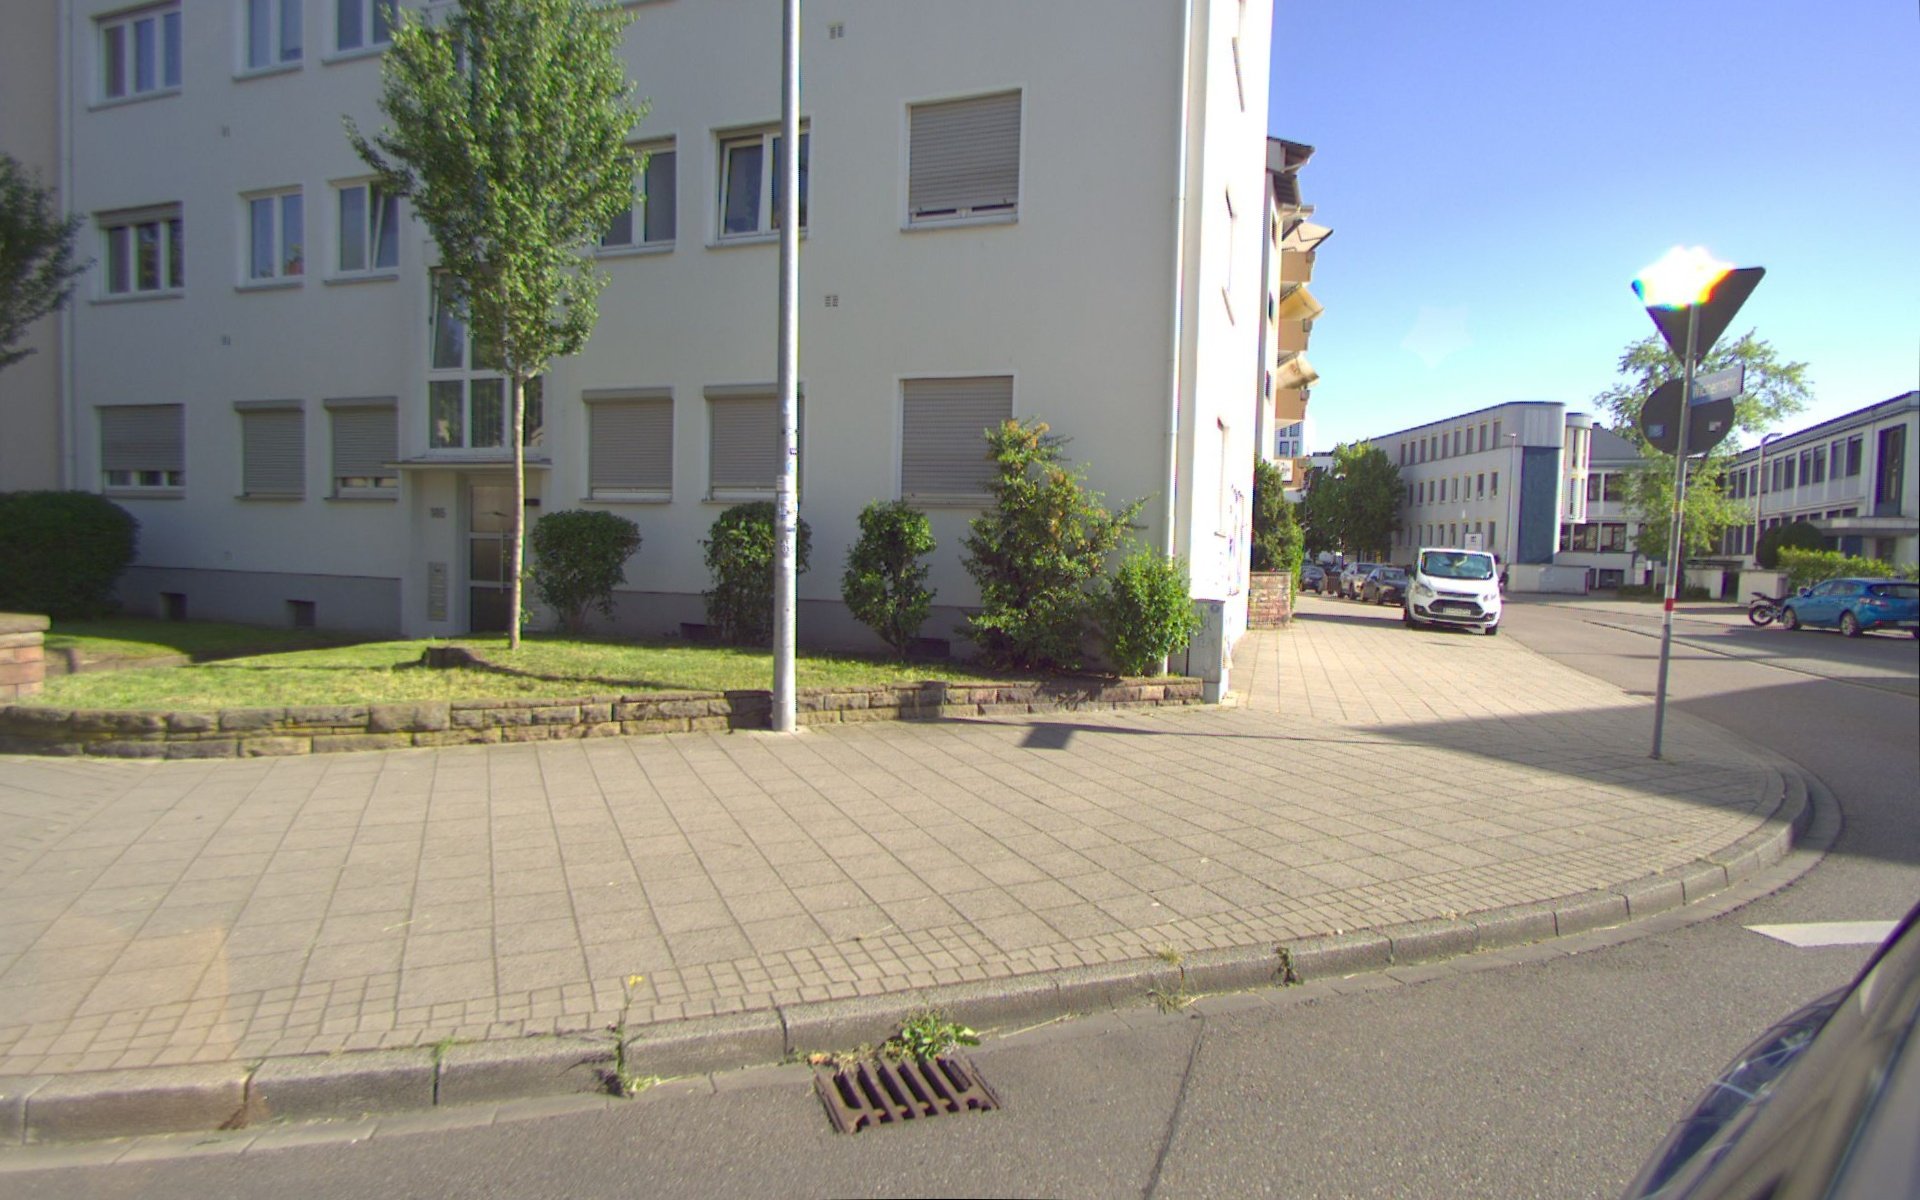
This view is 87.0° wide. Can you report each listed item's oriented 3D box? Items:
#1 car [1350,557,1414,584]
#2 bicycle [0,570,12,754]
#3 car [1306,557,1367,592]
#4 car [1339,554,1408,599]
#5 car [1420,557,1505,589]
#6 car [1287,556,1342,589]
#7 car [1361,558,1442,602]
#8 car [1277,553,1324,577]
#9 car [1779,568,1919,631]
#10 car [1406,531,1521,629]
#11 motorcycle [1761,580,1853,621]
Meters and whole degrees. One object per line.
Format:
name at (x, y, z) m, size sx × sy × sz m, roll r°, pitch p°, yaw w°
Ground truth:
car at (27.111, -1.956, 65.216) m, size 2.099 × 1.633 × 4.838 m, roll 0°, pitch 3°, yaw 0°
bicycle at (-6.494, 0.353, 6.038) m, size 1.601 × 1.091 × 0.383 m, roll 2°, pitch 5°, yaw 14°
car at (18.461, -1.291, 49.771) m, size 1.729 × 1.471 × 3.995 m, roll 5°, pitch 4°, yaw 6°
car at (17.401, -1.051, 42.775) m, size 1.731 × 1.661 × 3.991 m, roll 6°, pitch 4°, yaw 9°
car at (27.285, -1.503, 55.200) m, size 2.098 × 1.633 × 4.839 m, roll 0°, pitch 3°, yaw -1°
car at (18.931, -1.507, 54.244) m, size 1.728 × 1.471 × 3.996 m, roll 5°, pitch 4°, yaw 5°
car at (16.571, -0.797, 38.190) m, size 1.730 × 1.411 × 3.992 m, roll 6°, pitch 4°, yaw 9°
car at (27.298, -2.844, 81.257) m, size 2.099 × 1.832 × 4.838 m, roll 0°, pitch 3°, yaw 0°
car at (23.430, -0.068, 26.096) m, size 1.858 × 1.451 × 4.396 m, roll 1°, pitch 2°, yaw 14°
car at (12.209, -0.545, 24.834) m, size 1.978 × 2.037 × 4.763 m, roll 6°, pitch 4°, yaw 22°
motorcycle at (24.205, -0.005, 28.943) m, size 1.958 × 1.109 × 0.581 m, roll 2°, pitch 2°, yaw 44°
